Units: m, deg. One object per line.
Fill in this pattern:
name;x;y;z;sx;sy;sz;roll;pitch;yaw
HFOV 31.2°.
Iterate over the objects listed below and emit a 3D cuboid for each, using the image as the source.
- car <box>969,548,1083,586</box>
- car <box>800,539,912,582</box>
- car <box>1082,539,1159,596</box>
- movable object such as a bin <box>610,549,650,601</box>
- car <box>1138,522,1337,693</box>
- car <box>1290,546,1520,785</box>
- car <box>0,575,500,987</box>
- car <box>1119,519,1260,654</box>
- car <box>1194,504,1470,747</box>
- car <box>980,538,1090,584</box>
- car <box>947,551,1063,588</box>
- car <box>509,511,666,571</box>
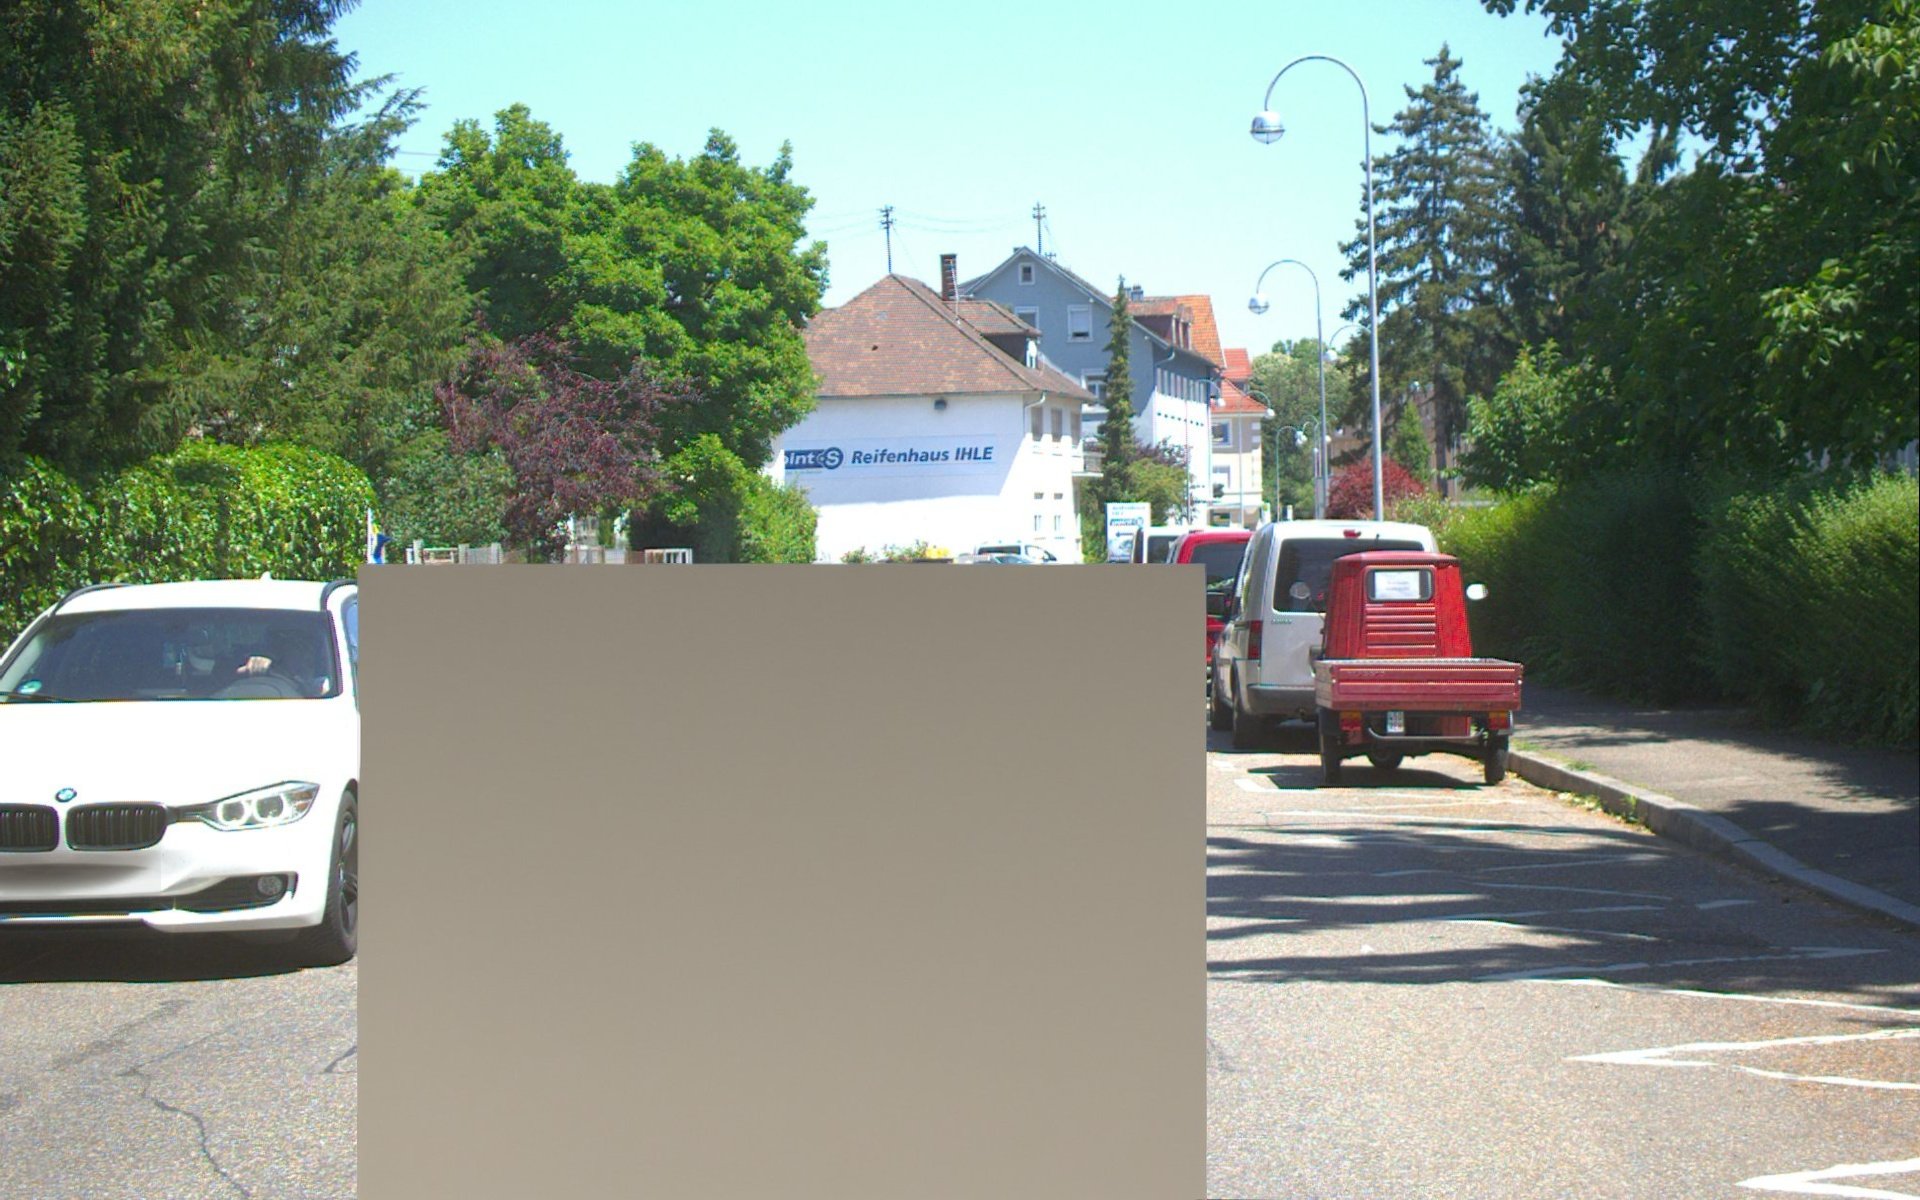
car;2.519;-1.266;131.313;4.130;1.389;1.828;0;1;9
car;-3.743;-1.437;123.674;1.795;1.505;3.998;-2;2;-44
car;4.504;-0.916;96.263;1.795;1.505;3.999;1;1;7
movable object such as a bin;-6.229;-0.474;64.962;0.708;0.993;0.474;0;1;1
car;2.986;0.058;37.829;1.903;1.722;4.391;1;1;2
car;2.955;0.397;23.189;1.260;1.490;2.709;1;1;2
car;-3.185;0.627;14.434;1.864;1.379;4.604;-1;1;0
car;3.371;-0.233;51.247;1.903;1.918;4.718;0;1;2
car;2.932;0.161;27.939;1.746;1.776;4.543;1;1;1
car;2.946;-1.525;133.963;4.129;1.768;1.828;0;1;6
car;1.664;-1.164;128.459;4.139;1.339;1.906;1;2;44
car;-9.892;-1.573;91.481;3.986;1.505;1.800;1;1;-2
